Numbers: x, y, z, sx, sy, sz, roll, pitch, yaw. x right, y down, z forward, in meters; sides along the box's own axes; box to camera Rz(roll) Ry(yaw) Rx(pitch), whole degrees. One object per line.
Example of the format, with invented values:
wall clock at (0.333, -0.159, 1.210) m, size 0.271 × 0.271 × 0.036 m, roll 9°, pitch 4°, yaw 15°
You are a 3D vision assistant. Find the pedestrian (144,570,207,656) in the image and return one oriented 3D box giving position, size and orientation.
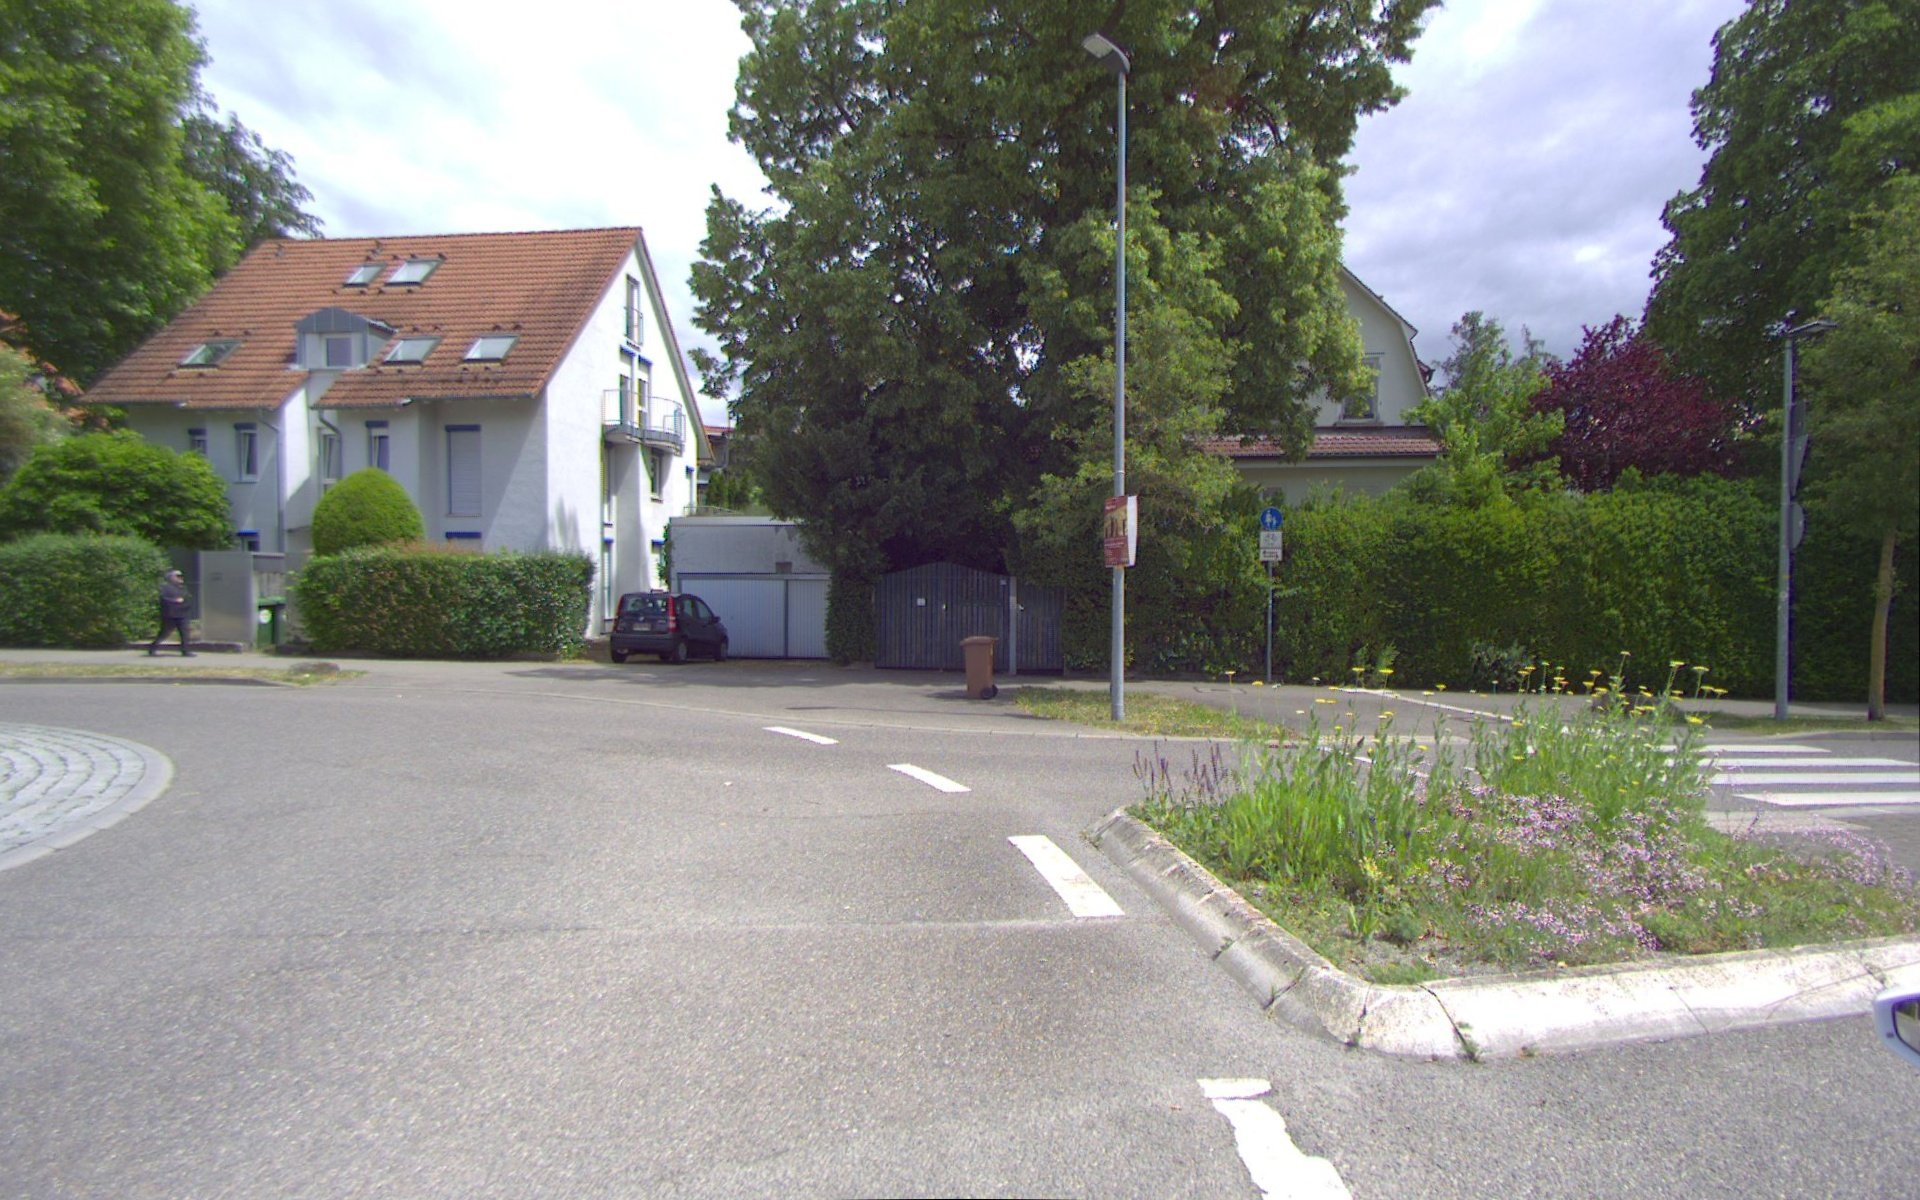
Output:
pedestrian at (-15.954, 0.251, 20.430) m, size 0.680 × 1.714 × 0.746 m, roll 2°, pitch 2°, yaw 10°

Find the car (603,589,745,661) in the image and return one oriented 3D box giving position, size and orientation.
car at (-6.222, 0.584, 22.285) m, size 1.631 × 1.415 × 3.582 m, roll 2°, pitch -2°, yaw 9°

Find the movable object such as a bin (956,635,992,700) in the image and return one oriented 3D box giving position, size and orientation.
movable object such as a bin at (0.213, 1.009, 15.170) m, size 0.406 × 0.947 × 0.439 m, roll 1°, pitch 0°, yaw -20°
